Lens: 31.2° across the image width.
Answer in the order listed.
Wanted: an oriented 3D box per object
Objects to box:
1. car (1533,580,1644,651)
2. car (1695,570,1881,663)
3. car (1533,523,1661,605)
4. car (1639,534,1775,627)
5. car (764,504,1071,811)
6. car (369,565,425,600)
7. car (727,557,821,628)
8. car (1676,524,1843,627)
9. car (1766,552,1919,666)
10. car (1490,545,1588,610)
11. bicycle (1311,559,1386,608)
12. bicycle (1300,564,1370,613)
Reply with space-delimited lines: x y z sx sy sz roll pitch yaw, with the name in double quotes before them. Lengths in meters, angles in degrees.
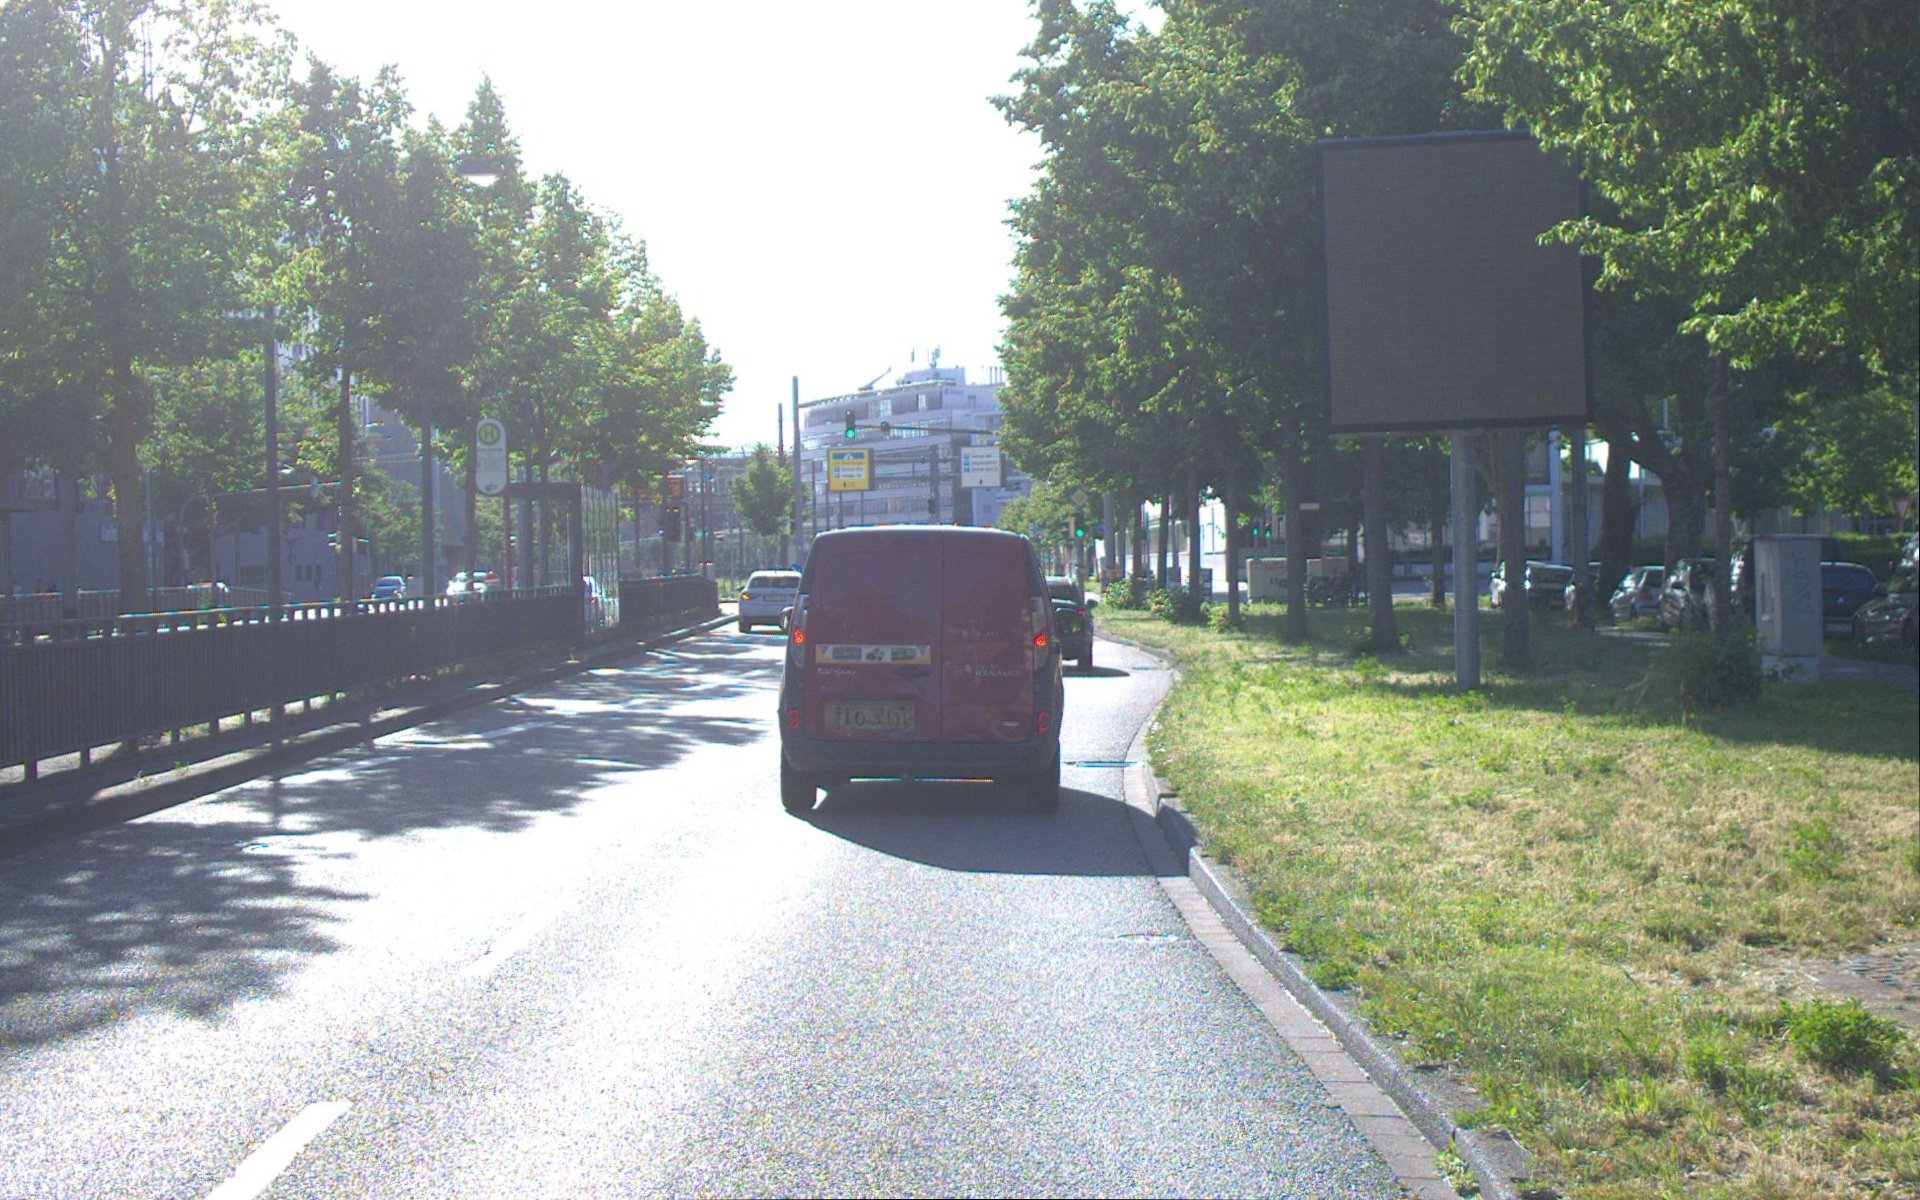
"car" 15.409 0.370 84.512 1.871 1.678 4.000 1 0 -2
"car" 12.914 0.249 53.841 1.871 1.363 4.000 1 0 -1
"car" 13.766 -0.770 74.513 1.871 1.678 4.000 -2 0 -2
"car" 14.055 -0.360 64.892 1.871 1.678 3.999 1 0 3
"car" -0.369 0.348 22.754 1.808 1.831 4.000 1 0 -3
"car" -29.072 -0.909 177.685 1.994 1.759 3.999 1 0 4
"car" -4.352 -0.170 80.777 1.993 1.612 4.000 1 0 0
"car" 13.660 -0.402 58.940 1.871 1.678 4.000 1 0 -1
"car" 12.321 0.125 45.930 1.871 1.429 4.902 1 0 -1
"car" 15.694 -0.598 93.382 1.871 1.678 4.000 1 0 -2
"bicycle" 10.177 -0.435 90.071 1.918 1.264 0.479 0 0 1
"bicycle" 9.908 -0.306 90.881 1.778 1.264 0.479 1 0 1
